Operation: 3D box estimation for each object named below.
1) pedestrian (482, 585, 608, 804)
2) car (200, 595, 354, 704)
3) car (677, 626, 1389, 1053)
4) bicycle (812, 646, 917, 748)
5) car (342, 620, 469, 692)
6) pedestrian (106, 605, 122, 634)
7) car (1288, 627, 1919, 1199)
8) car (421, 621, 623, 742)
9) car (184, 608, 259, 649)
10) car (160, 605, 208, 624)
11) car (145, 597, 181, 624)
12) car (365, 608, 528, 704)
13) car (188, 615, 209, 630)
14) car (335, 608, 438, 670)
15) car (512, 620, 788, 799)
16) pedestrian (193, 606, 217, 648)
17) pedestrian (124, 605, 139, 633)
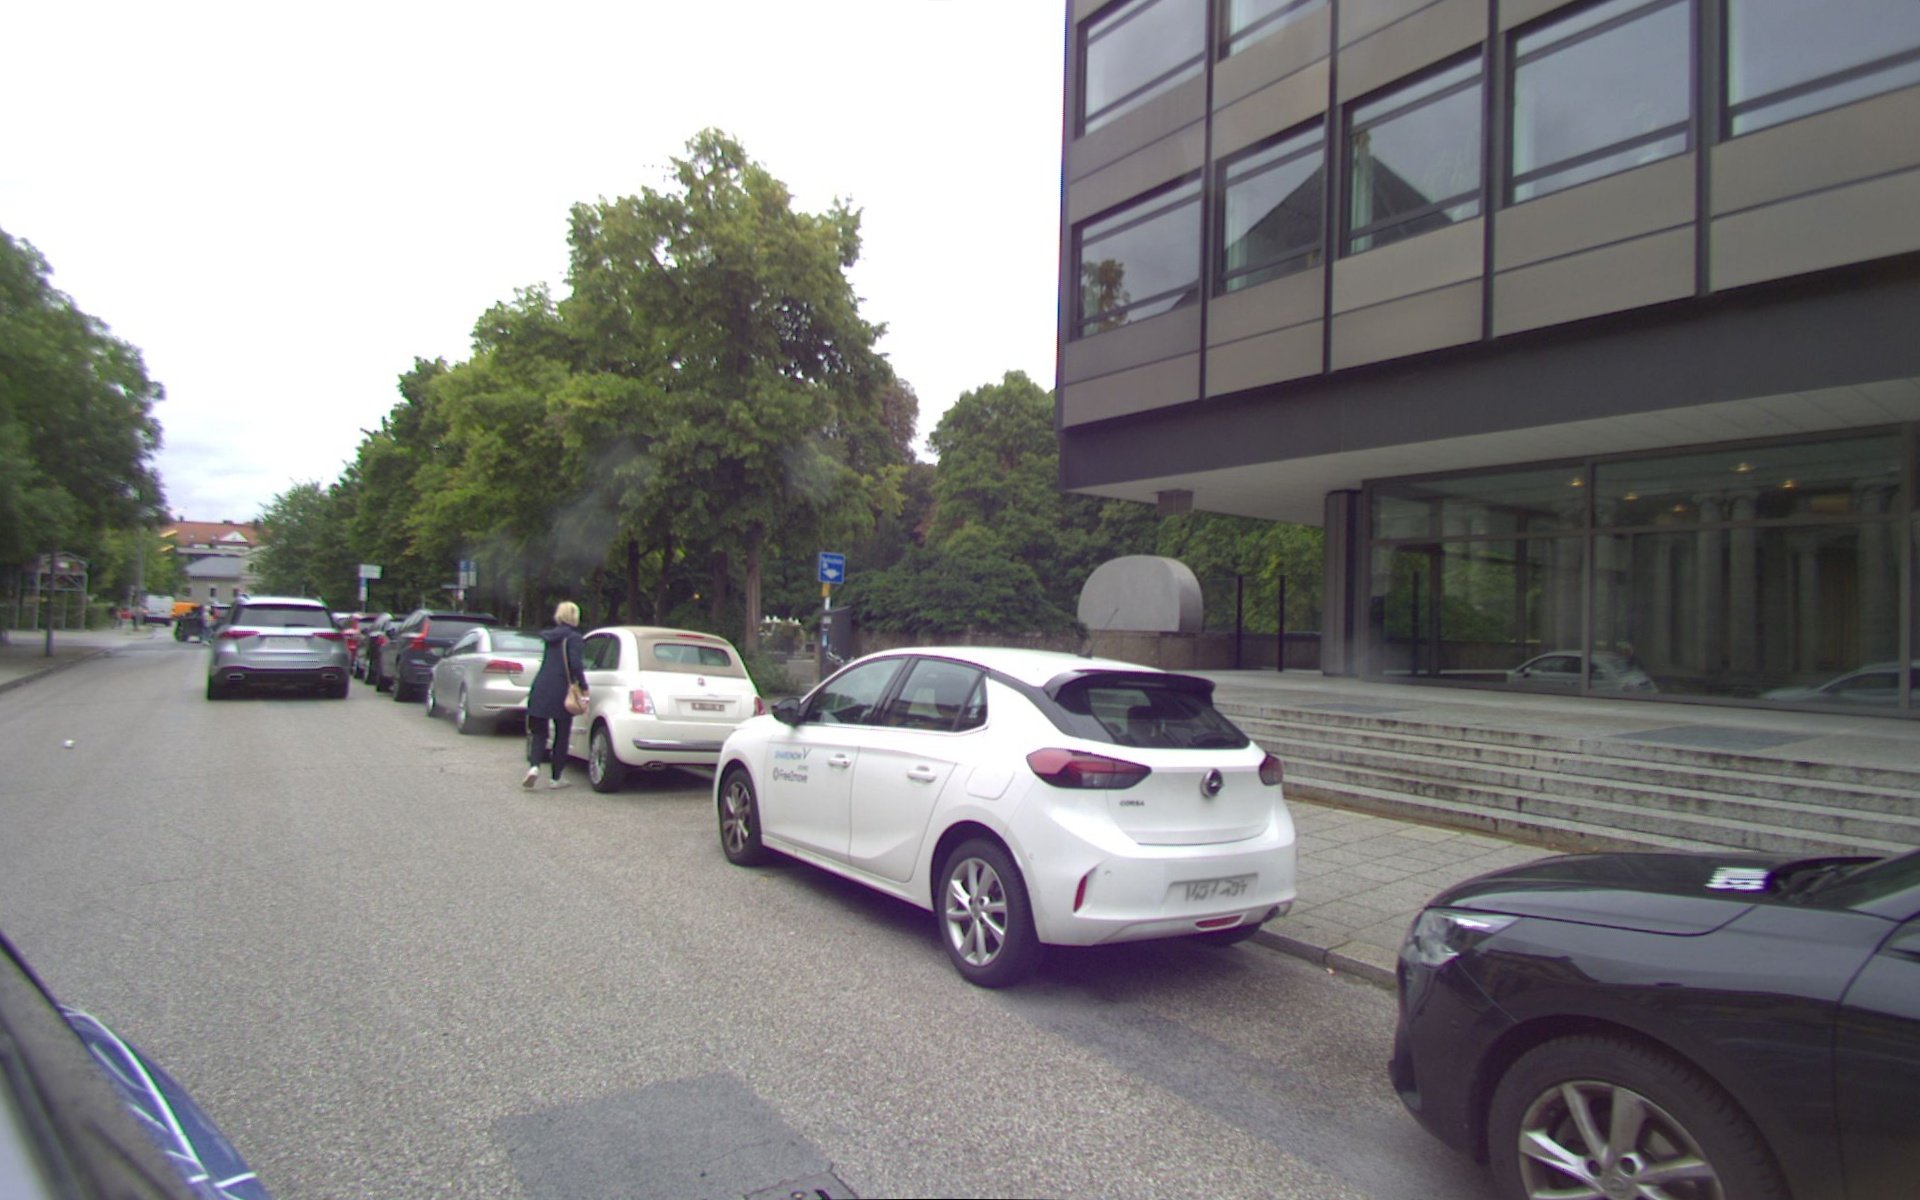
[{"bbox_3d":[-3.568,0.804,8.779,0.679,1.765,0.894,3,-4,-7],"label":"pedestrian"},{"bbox_3d":[-12.426,0.860,18.419,1.997,1.702,4.689,4,-3,-35],"label":"car"},{"bbox_3d":[-0.009,0.955,5.816,1.659,1.451,4.289,6,-4,-35],"label":"car"},{"bbox_3d":[-1.249,1.205,13.007,0.634,1.173,1.530,0,-1,-38],"label":"bicycle"},{"bbox_3d":[-12.811,1.234,23.237,1.967,1.472,4.658,4,-3,-35],"label":"car"},{"bbox_3d":[-57.050,1.312,68.239,0.766,1.879,0.998,-1,0,-44],"label":"pedestrian"},{"bbox_3d":[2.884,0.857,1.679,1.716,1.472,4.247,5,-4,-35],"label":"car"},{"bbox_3d":[-6.356,1.084,14.418,1.735,1.411,4.227,6,-4,-35],"label":"car"},{"bbox_3d":[-34.192,1.288,46.788,4.914,1.694,1.938,0,-4,44],"label":"car"},{"bbox_3d":[-107.653,1.956,140.368,4.928,2.554,2.568,0,0,7],"label":"car"},{"bbox_3d":[-70.511,0.920,89.478,2.203,2.319,4.737,-1,0,-42],"label":"car"},{"bbox_3d":[-9.837,1.001,19.192,1.967,1.595,4.532,4,-3,-36],"label":"car"},{"bbox_3d":[-102.507,2.979,136.236,2.187,1.864,4.742,-1,0,-36],"label":"car"},{"bbox_3d":[-15.789,1.046,27.752,1.967,1.555,4.374,4,-3,-35],"label":"car"},{"bbox_3d":[-3.293,0.991,10.331,1.523,1.482,3.561,5,-4,-36],"label":"car"},{"bbox_3d":[-32.012,1.144,42.912,0.786,1.744,0.662,-1,0,-38],"label":"pedestrian"},{"bbox_3d":[-56.283,1.282,68.755,0.765,1.879,0.998,-1,0,-43],"label":"pedestrian"}]
